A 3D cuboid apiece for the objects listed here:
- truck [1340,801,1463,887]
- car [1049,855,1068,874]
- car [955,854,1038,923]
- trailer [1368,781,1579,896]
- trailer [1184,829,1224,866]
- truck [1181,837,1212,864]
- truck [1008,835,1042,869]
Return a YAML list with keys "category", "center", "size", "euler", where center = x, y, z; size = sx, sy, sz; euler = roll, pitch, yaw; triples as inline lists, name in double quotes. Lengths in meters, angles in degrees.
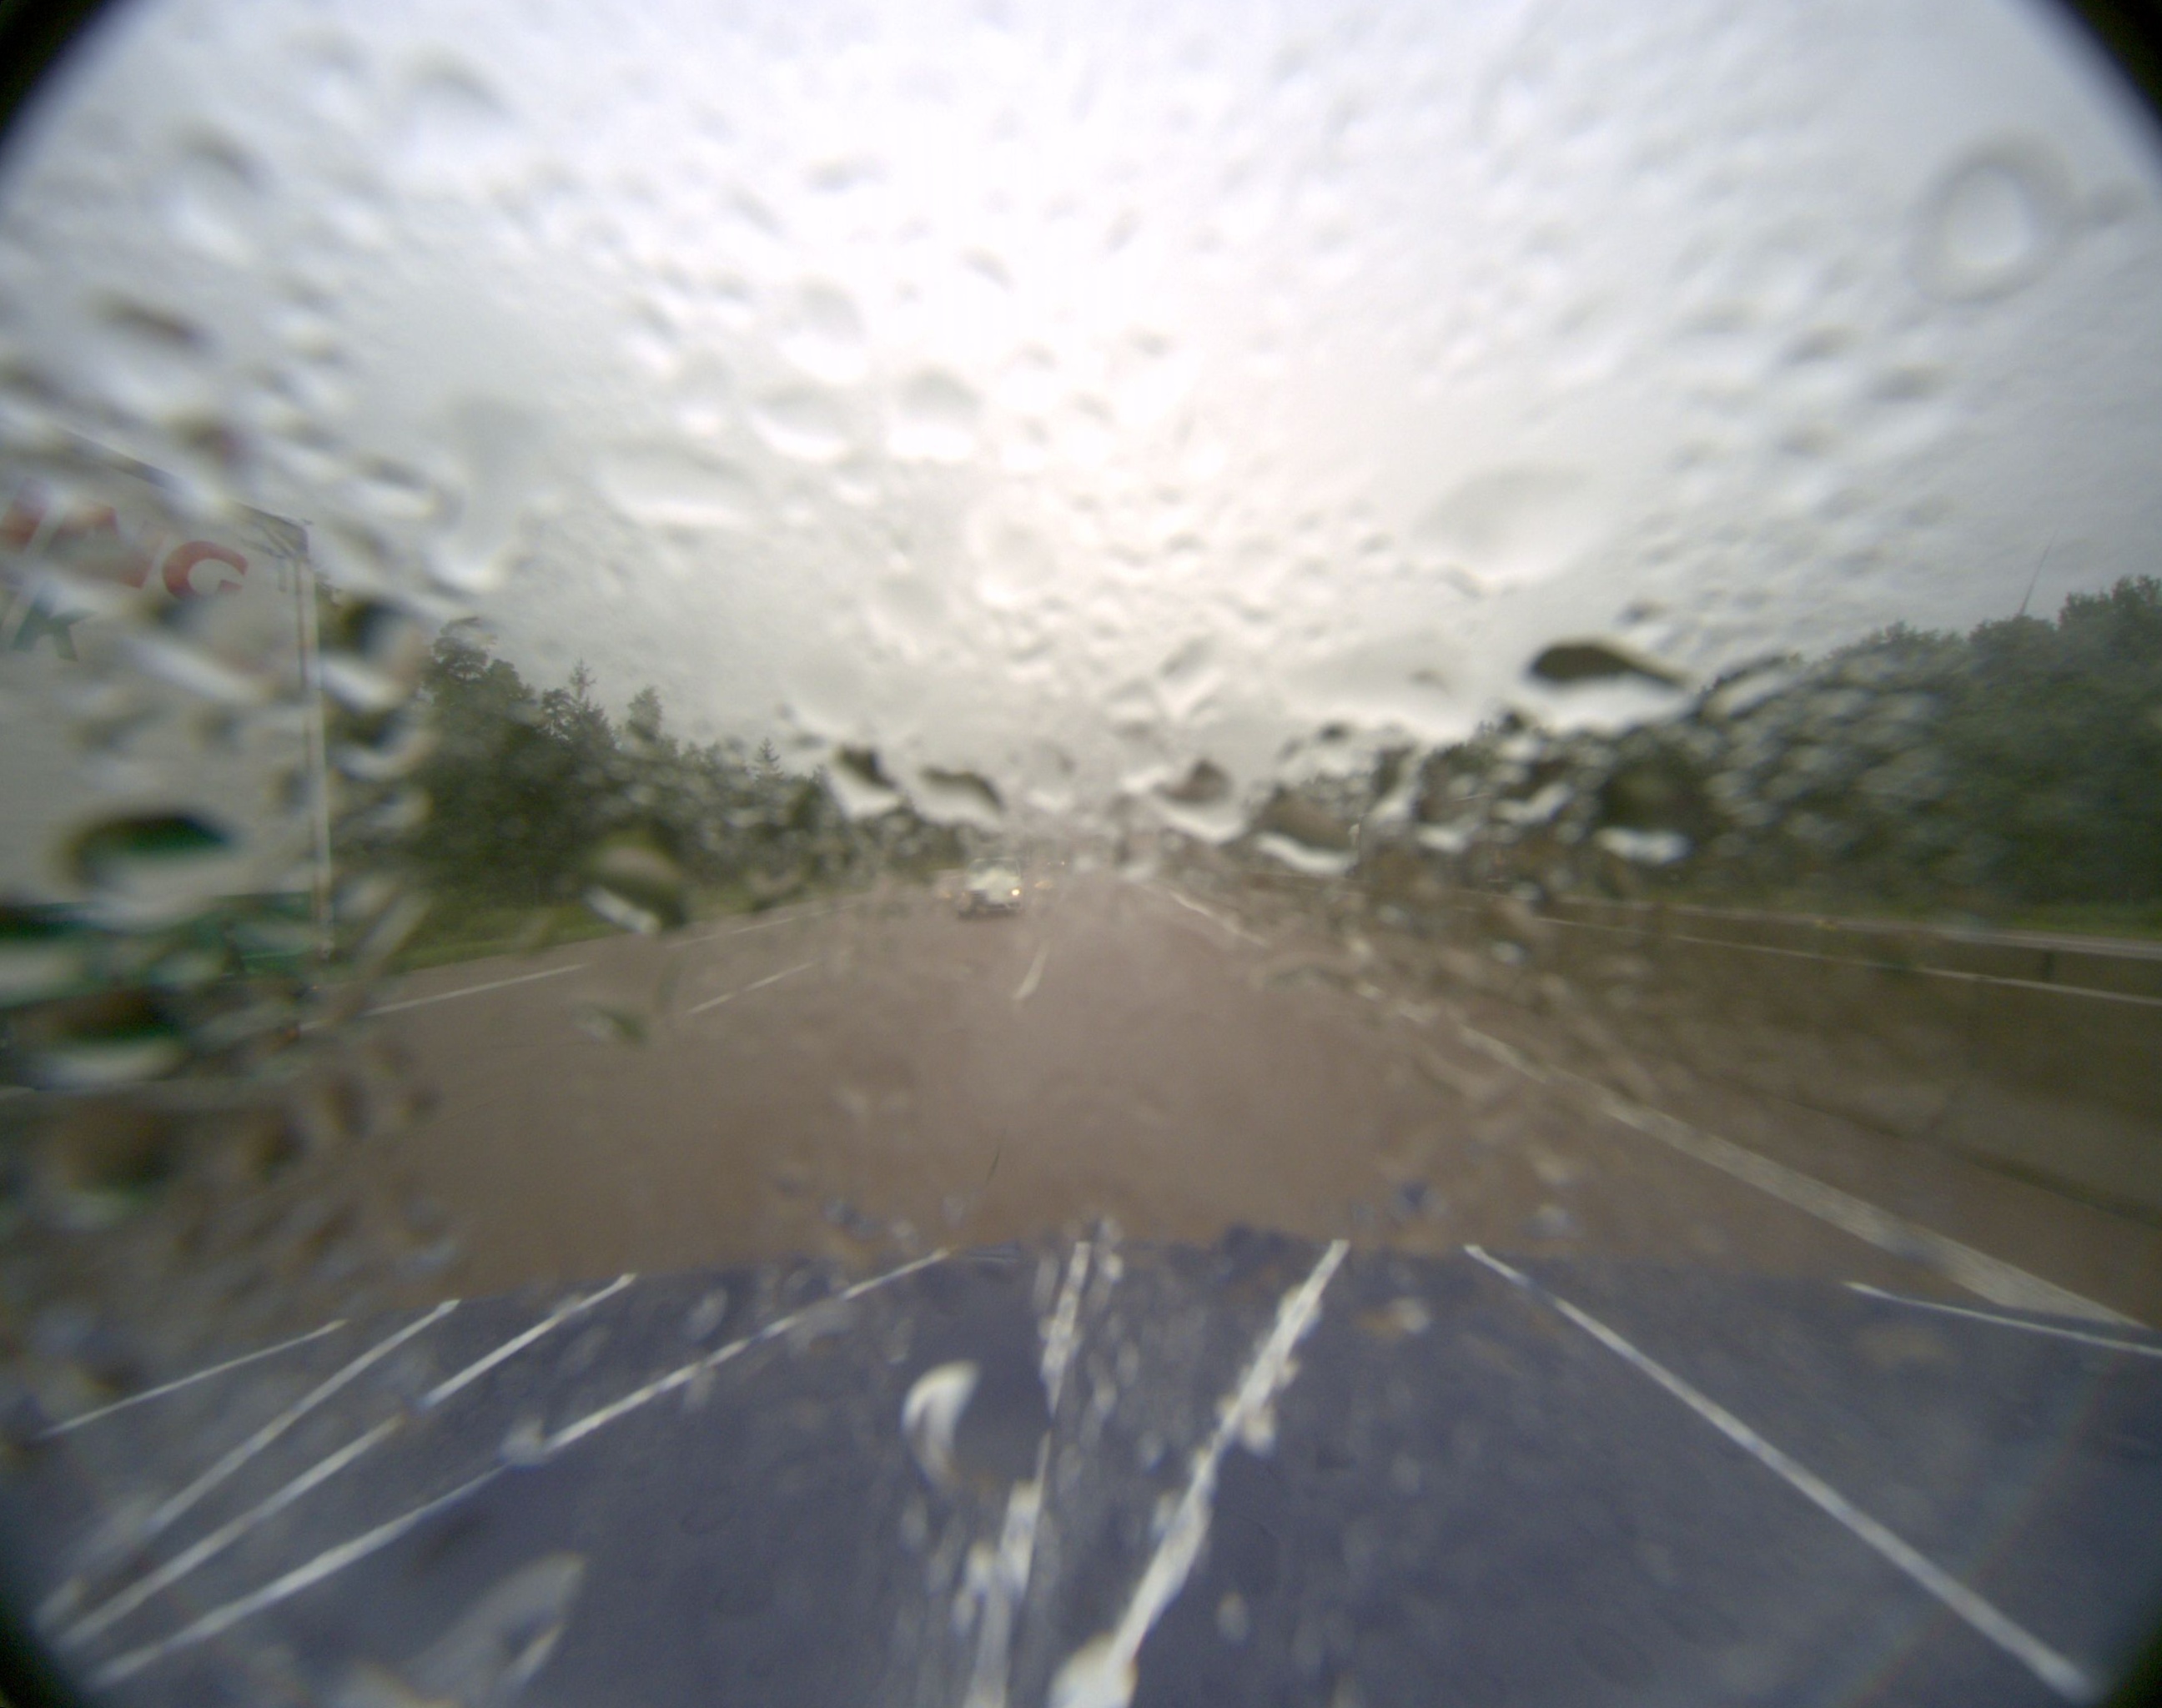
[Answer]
- category: "truck"
  center: [17.522, -0.471, 42.268]
  size: [3.428, 4.334, 7.947]
  euler: [0, 0, 0]
- category: "car"
  center: [-2.477, 1.100, 84.284]
  size: [1.999, 2.002, 4.276]
  euler: [0, 0, -1]
- category: "car"
  center: [-2.328, 0.900, 22.108]
  size: [1.813, 1.718, 4.743]
  euler: [-2, 0, 0]
- category: "trailer"
  center: [17.505, -0.567, 35.528]
  size: [3.439, 4.439, 12.445]
  euler: [0, 0, 0]
- category: "trailer"
  center: [17.415, -0.986, 108.519]
  size: [3.439, 4.839, 12.443]
  euler: [-2, 1, 0]
- category: "truck"
  center: [17.432, -0.545, 115.092]
  size: [3.481, 3.866, 7.463]
  euler: [-2, 1, 0]
- category: "truck"
  center: [-6.408, -0.270, 88.670]
  size: [3.242, 3.708, 7.954]
  euler: [-2, 0, 0]
